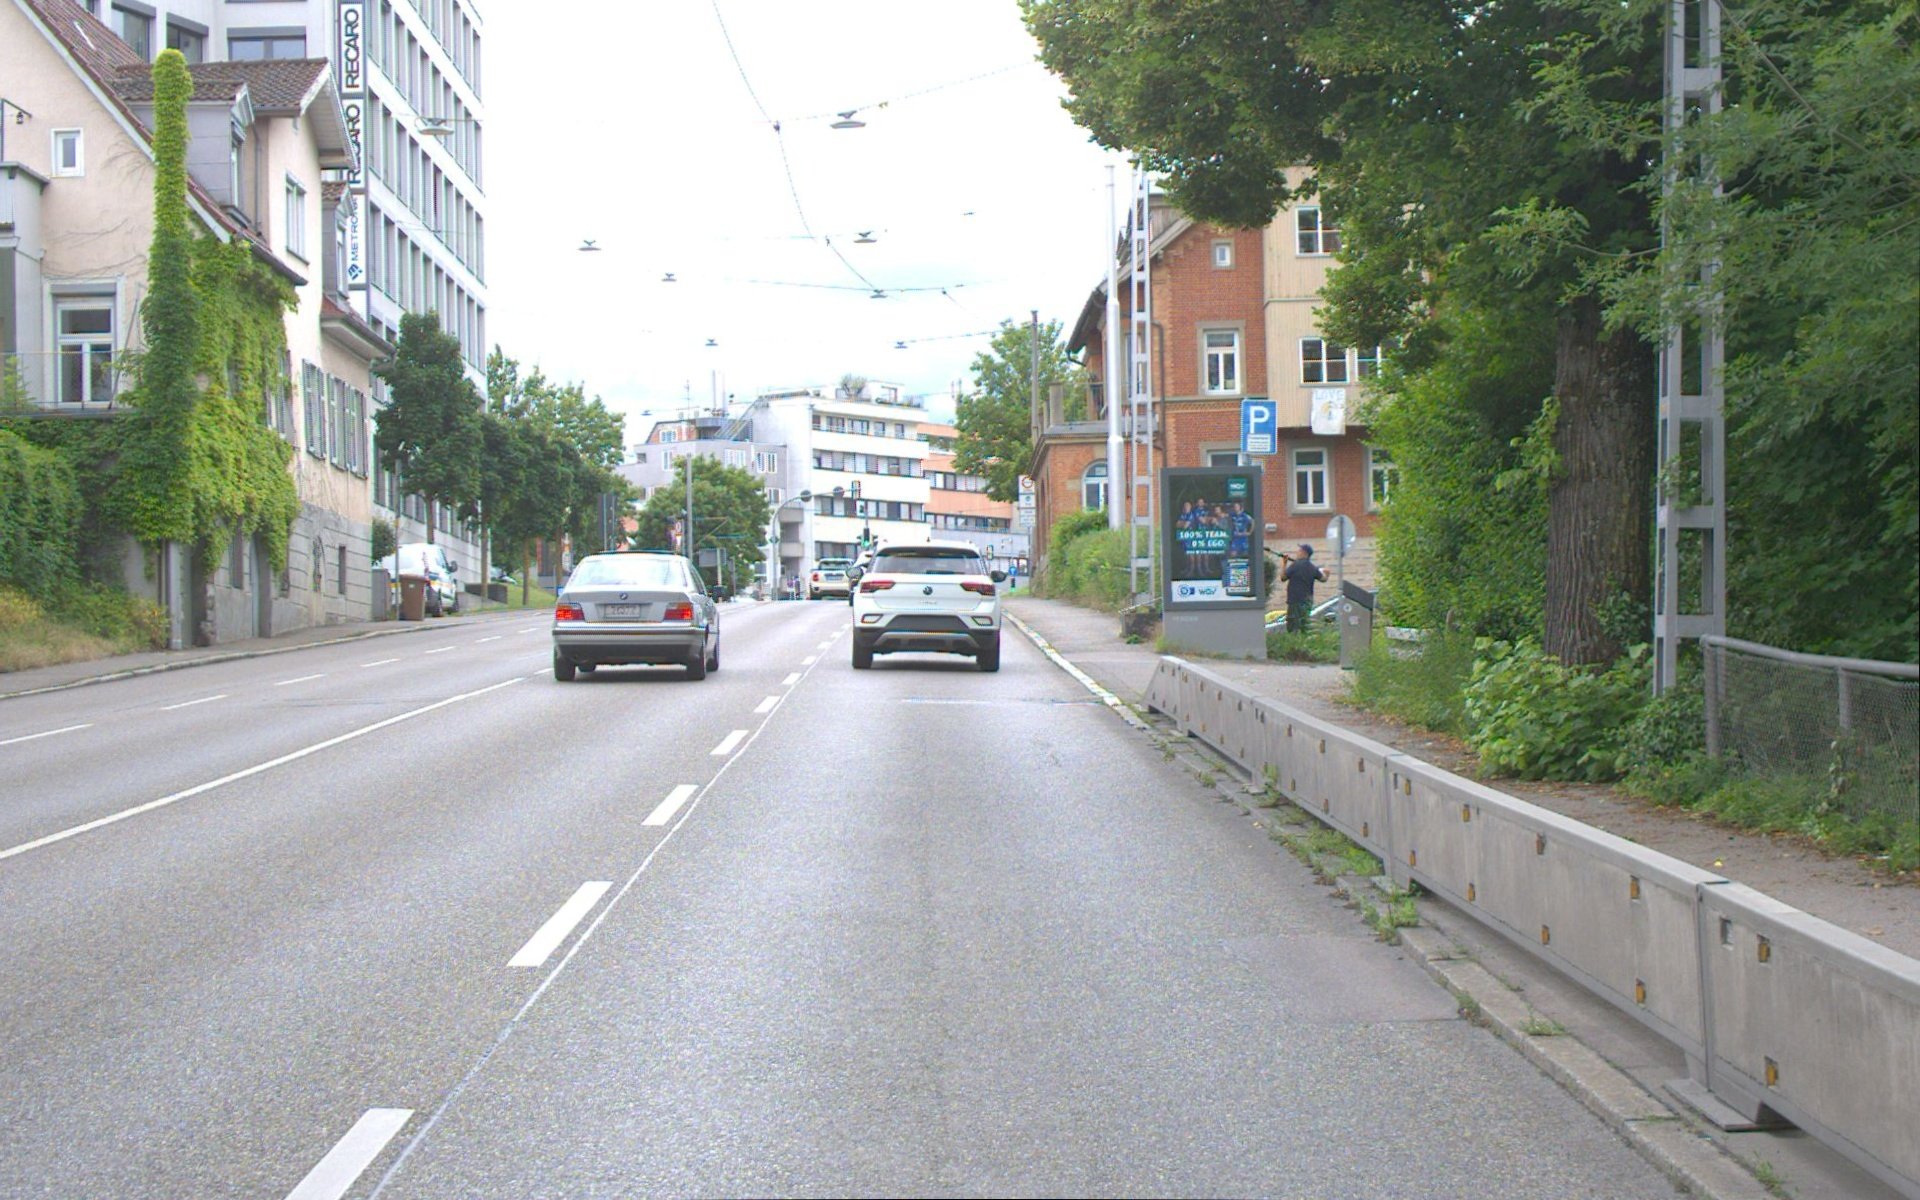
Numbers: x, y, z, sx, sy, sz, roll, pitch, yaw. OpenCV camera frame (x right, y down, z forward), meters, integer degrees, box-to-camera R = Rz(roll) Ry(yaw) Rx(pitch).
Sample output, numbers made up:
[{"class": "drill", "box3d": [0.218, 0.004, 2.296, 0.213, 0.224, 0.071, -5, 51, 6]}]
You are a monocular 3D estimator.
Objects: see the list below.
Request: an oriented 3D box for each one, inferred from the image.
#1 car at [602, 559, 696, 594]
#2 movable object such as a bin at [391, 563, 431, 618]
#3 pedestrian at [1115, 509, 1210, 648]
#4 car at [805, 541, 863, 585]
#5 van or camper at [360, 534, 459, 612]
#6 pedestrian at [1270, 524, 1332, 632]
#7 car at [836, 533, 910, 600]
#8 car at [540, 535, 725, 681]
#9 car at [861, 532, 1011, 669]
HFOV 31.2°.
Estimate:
[{"class": "car", "box3d": [-13.790, -1.037, 152.521, 1.780, 1.539, 3.990, -1, 0, 44]}, {"class": "movable object such as a bin", "box3d": [-12.423, -0.221, 77.843, 0.810, 1.185, 0.699, 3, 0, -6]}, {"class": "pedestrian", "box3d": [2.785, -0.298, 47.334, 0.947, 1.878, 0.813, -1, 1, 39]}, {"class": "car", "box3d": [-4.275, -1.270, 117.115, 1.830, 1.459, 4.000, -1, 1, -1]}, {"class": "van or camper", "box3d": [-14.568, -0.731, 91.133, 2.060, 1.961, 4.873, -1, 1, -3]}, {"class": "pedestrian", "box3d": [5.017, -0.325, 50.600, 0.584, 1.566, 0.647, -3, 1, -38]}, {"class": "car", "box3d": [-2.222, -0.885, 88.902, 1.830, 1.645, 4.000, -1, 1, -1]}, {"class": "car", "box3d": [-3.572, 0.049, 38.062, 1.700, 1.511, 3.736, -1, 1, -1]}, {"class": "car", "box3d": [-0.301, -0.025, 42.098, 1.700, 1.543, 3.736, 2, 1, -1]}]
